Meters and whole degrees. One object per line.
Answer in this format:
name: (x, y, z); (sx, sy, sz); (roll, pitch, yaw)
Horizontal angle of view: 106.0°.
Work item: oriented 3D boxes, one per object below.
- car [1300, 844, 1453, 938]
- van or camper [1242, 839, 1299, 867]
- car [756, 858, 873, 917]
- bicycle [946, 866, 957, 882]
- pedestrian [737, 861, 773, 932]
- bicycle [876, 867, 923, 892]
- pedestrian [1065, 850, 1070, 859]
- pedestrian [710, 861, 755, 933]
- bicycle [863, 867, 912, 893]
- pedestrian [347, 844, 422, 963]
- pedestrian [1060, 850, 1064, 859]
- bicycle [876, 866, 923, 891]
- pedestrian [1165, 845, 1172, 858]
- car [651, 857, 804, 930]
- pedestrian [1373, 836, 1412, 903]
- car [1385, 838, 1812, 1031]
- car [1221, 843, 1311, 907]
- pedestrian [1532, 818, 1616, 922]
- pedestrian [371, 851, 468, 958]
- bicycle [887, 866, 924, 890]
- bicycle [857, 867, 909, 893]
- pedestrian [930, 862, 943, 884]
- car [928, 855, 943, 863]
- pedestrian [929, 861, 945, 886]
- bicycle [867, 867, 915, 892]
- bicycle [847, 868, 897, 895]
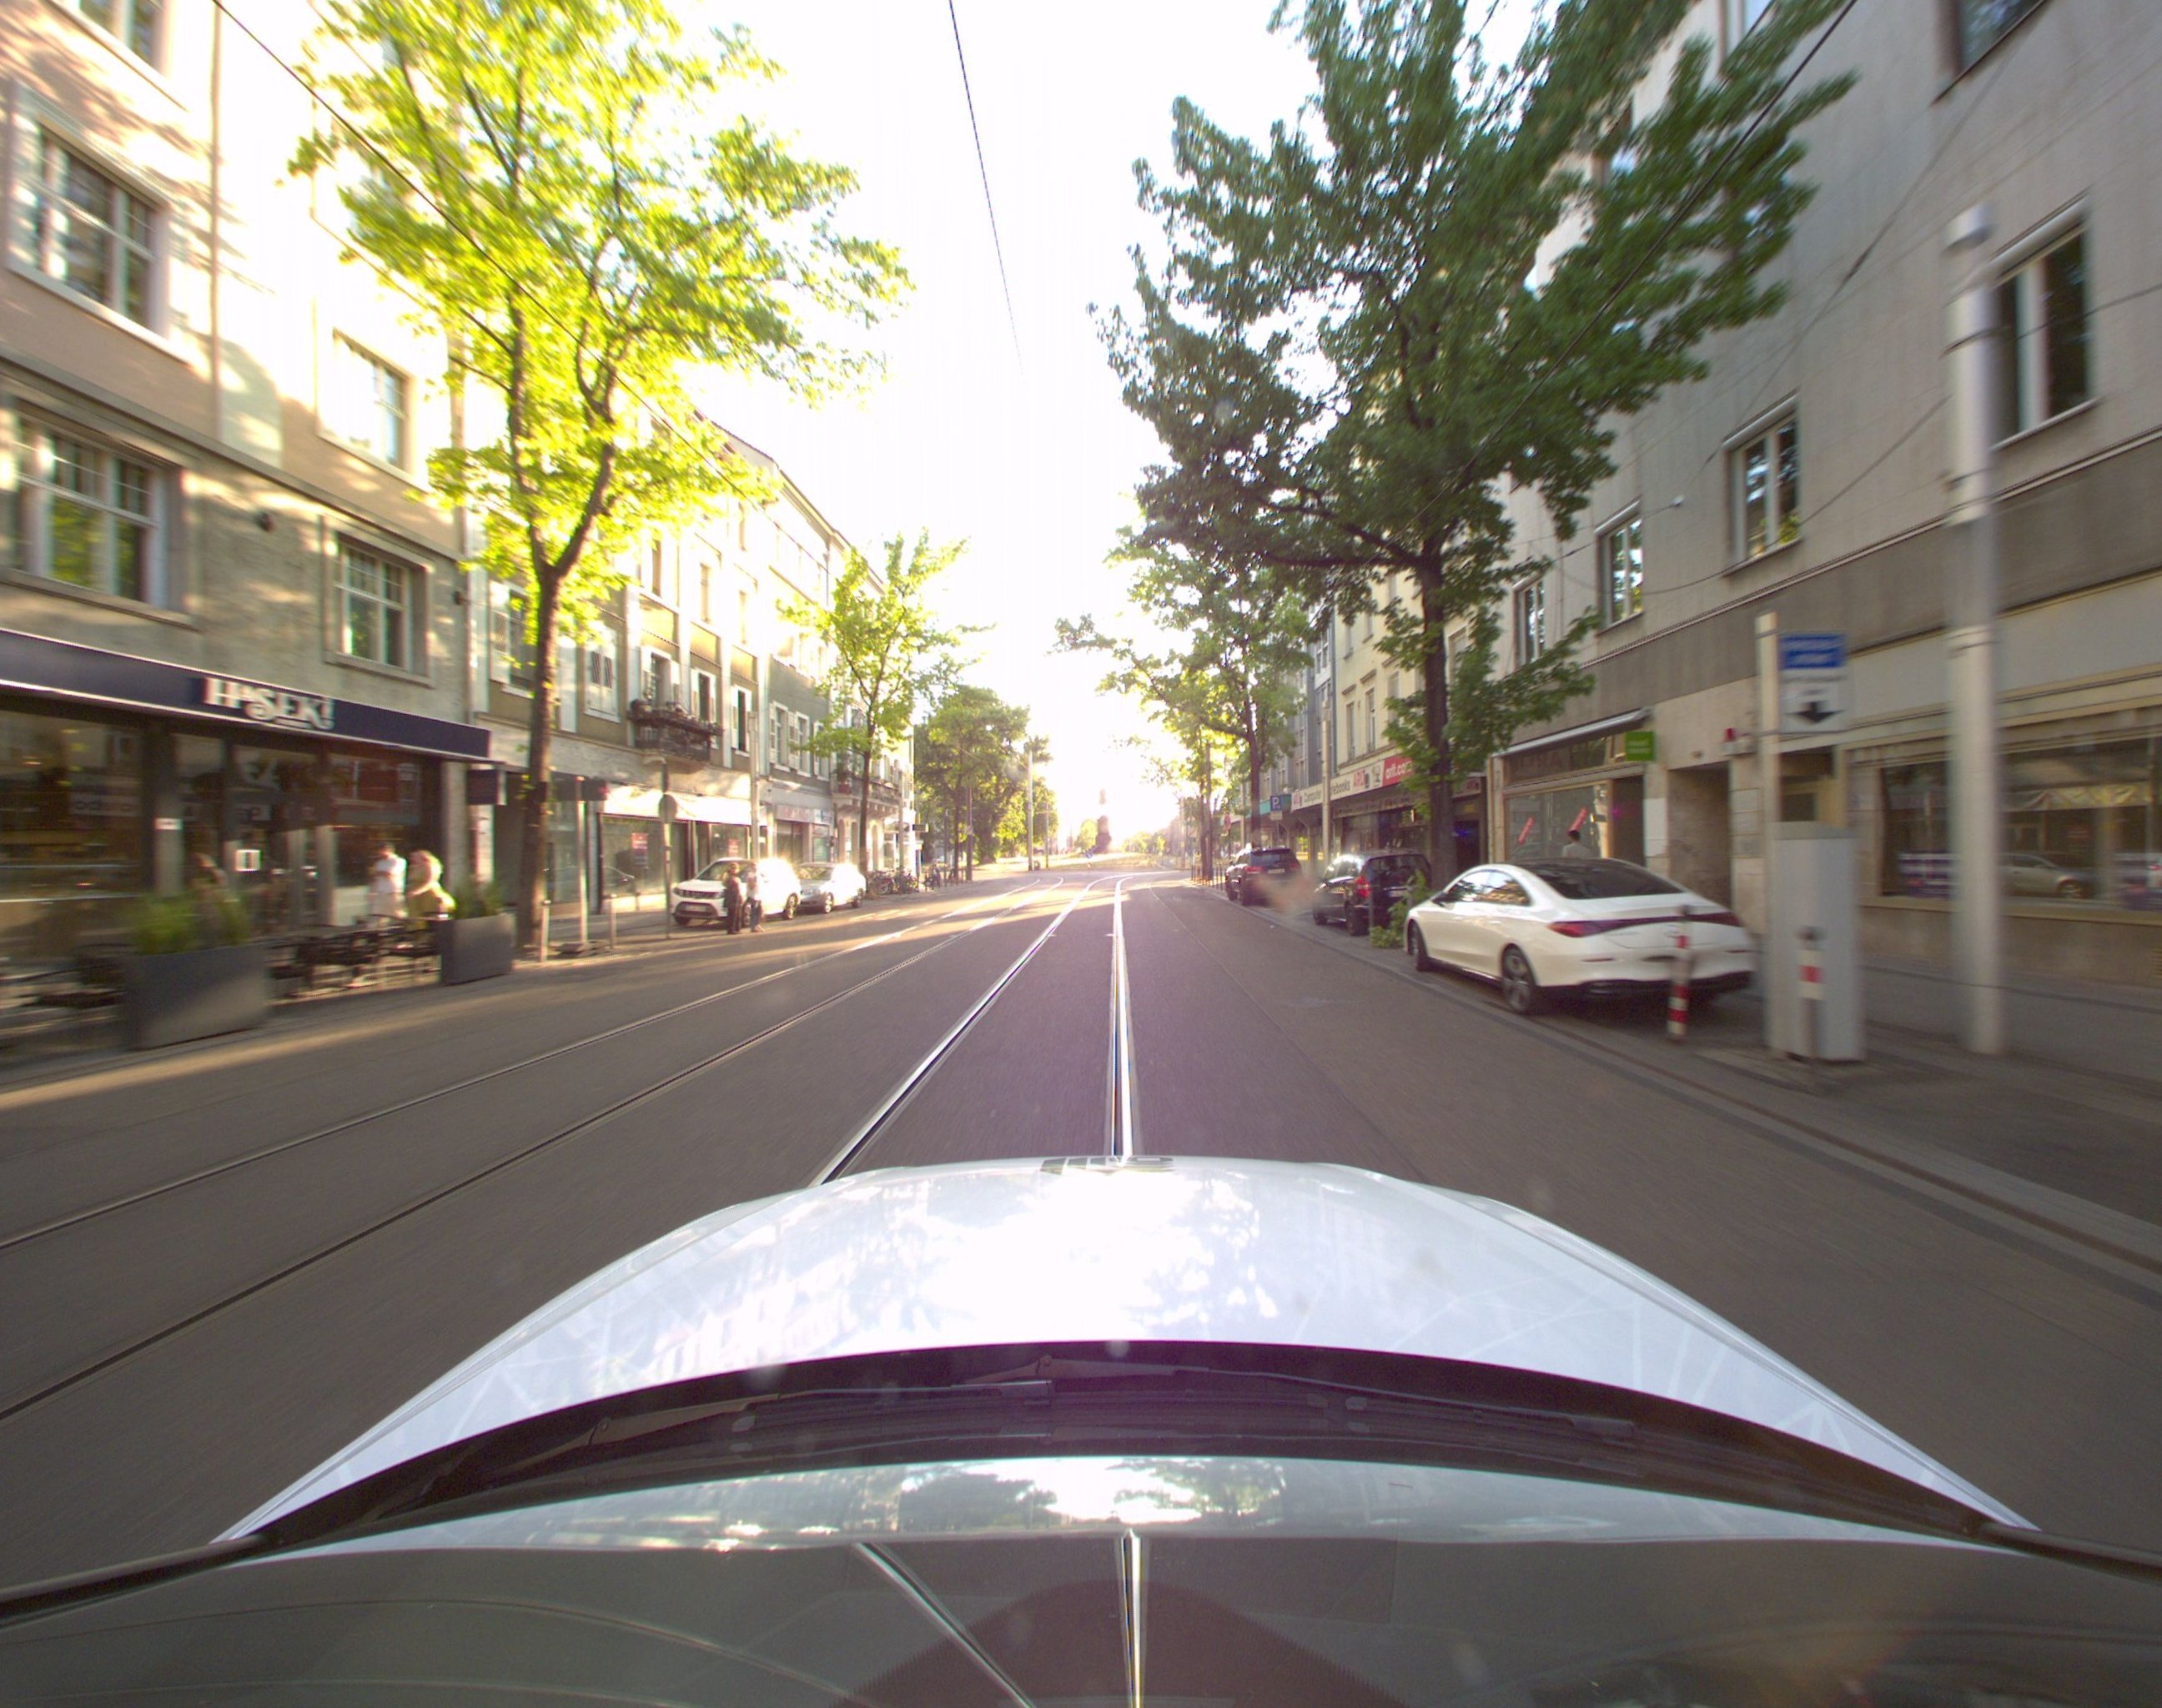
car: (5.941, 0.670, 16.881); (1.769, 1.591, 3.893); (-4, 0, 2)
van or camper: (17.683, -0.113, 75.645); (2.582, 2.472, 6.360); (-1, 0, 40)
car: (-8.233, 0.964, 25.674); (1.828, 1.580, 4.706); (3, 0, 3)
bicycle: (-7.811, 1.213, 49.200); (0.335, 0.946, 1.511); (-1, 0, 3)
pedestrian: (-7.366, 0.956, 18.402); (0.519, 1.569, 0.634); (-1, -1, 3)
bicycle: (-8.242, 1.137, 37.013); (2.014, 1.105, 0.501); (1, -1, 4)
pedestrian: (-2.544, 0.082, 152.904); (0.768, 1.606, 0.637); (-1, 0, -4)
pedestrian: (-7.537, 0.914, 17.627); (0.617, 1.509, 0.730); (-1, -1, 3)
bicycle: (-8.450, 1.152, 35.557); (2.032, 1.105, 0.497); (1, -1, -23)
pedestrian: (-12.107, 0.845, 14.175); (0.719, 2.013, 0.643); (-1, 0, 2)
pedestrian: (-3.527, 0.099, 153.327); (0.768, 1.606, 0.637); (-1, 0, -4)
bicycle: (-8.376, 1.136, 37.604); (2.014, 1.105, 0.501); (1, -1, 4)
pedestrian: (10.940, -0.299, 102.109); (0.630, 1.606, 0.776); (-1, 0, 23)
car: (-8.783, 0.905, 20.670); (1.828, 1.580, 4.119); (3, 0, 3)
pedestrian: (8.077, 0.395, 21.137); (0.641, 1.670, 0.787); (-4, 0, 2)
car: (5.246, 0.677, 9.236); (1.985, 1.498, 4.684); (-4, 0, 3)
car: (5.936, 0.622, 26.704); (1.930, 1.759, 4.682); (-4, 0, 2)
pedestrian: (8.850, 0.285, 14.668); (0.855, 1.753, 0.933); (-4, 0, 2)
pedestrian: (-11.286, 0.829, 13.925); (0.719, 1.760, 1.090); (-1, 0, 2)
bicycle: (-8.289, 1.129, 38.474); (2.004, 1.105, 0.504); (0, -1, 37)
bicycle: (-8.485, 1.105, 34.914); (2.117, 1.105, 0.497); (1, -1, -23)
pedestrian: (-8.088, 1.071, 45.541); (0.589, 1.194, 0.642); (0, 0, 0)
car: (-27.884, 0.963, 156.572); (1.868, 1.420, 3.931); (-1, 0, 5)
pedestrian: (-7.765, 1.044, 43.888); (0.725, 1.290, 0.856); (0, 0, 0)
bicycle: (-8.420, 1.141, 36.138); (2.032, 1.105, 0.497); (1, -1, -23)
bicycle: (-8.713, 1.139, 34.022); (1.953, 1.105, 0.563); (1, -1, -23)
